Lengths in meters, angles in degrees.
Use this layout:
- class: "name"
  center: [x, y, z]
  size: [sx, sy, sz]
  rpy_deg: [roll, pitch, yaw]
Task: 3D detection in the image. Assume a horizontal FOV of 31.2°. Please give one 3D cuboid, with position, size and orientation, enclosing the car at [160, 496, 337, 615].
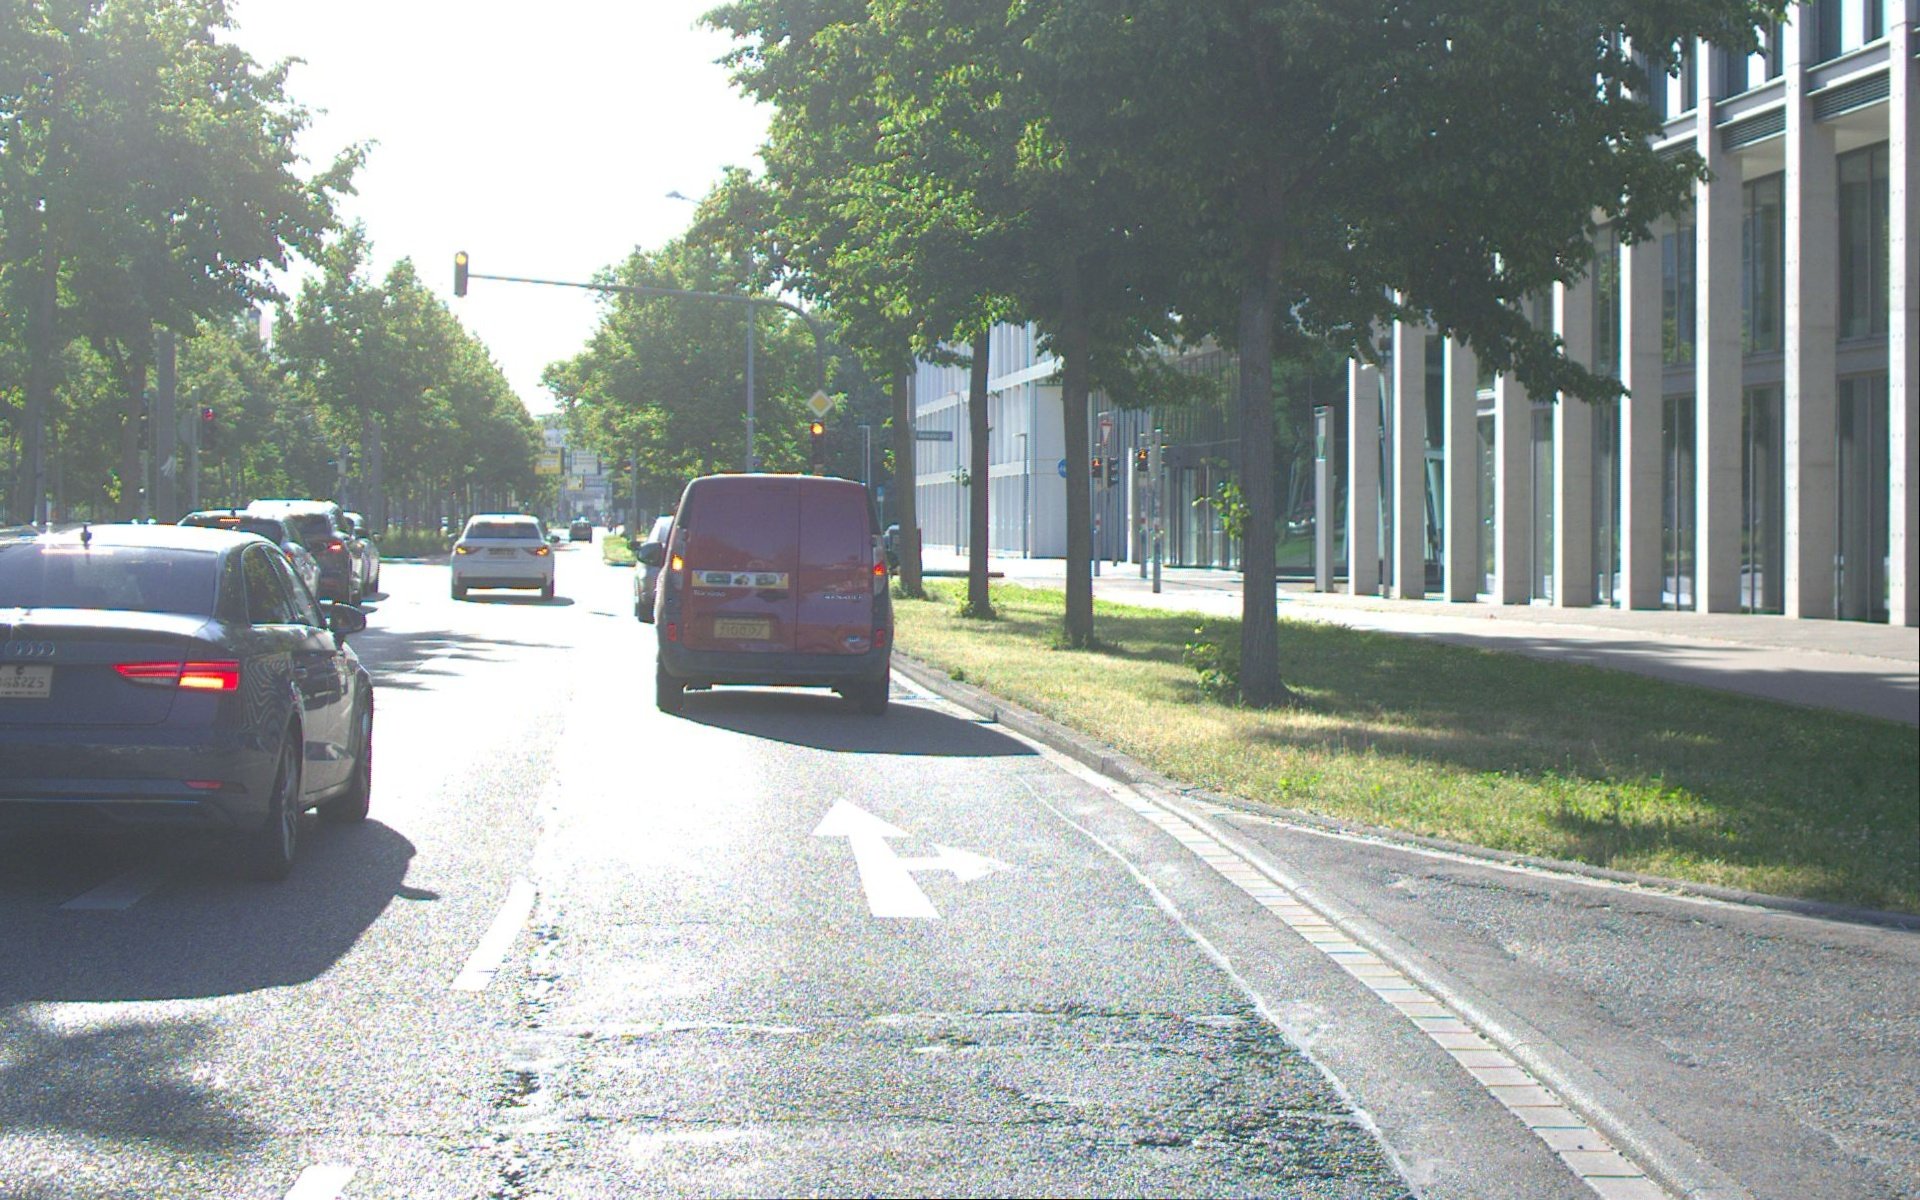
- class: "car"
  center: [-9.027, -0.599, 43.871]
  size: [1.942, 1.436, 4.001]
  rpy_deg: [0, 2, -8]

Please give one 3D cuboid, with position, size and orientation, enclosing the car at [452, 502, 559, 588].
- class: "car"
  center: [-7.782, -0.963, 59.106]
  size: [1.720, 1.420, 3.817]
  rpy_deg: [0, 2, -6]

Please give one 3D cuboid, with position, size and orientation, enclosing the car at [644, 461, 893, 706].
- class: "car"
  center: [-1.580, -0.115, 27.108]
  size: [1.797, 1.771, 4.001]
  rpy_deg: [-1, 0, -5]

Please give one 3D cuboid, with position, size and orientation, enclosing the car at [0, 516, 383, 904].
- class: "car"
  center: [-3.567, 0.355, 14.647]
  size: [1.721, 1.361, 4.147]
  rpy_deg: [1, 2, -3]

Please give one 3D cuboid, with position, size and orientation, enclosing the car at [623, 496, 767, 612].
- class: "car"
  center: [-3.734, -0.666, 47.961]
  size: [1.720, 1.420, 3.818]
  rpy_deg: [2, 3, -8]

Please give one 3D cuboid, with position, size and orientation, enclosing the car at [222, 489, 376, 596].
- class: "car"
  center: [-9.854, -0.880, 51.506]
  size: [1.842, 1.529, 3.941]
  rpy_deg: [0, 2, -5]

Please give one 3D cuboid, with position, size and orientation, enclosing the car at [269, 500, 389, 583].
- class: "car"
  center: [-10.917, -1.041, 59.692]
  size: [1.715, 1.393, 4.001]
  rpy_deg: [0, 2, -6]
